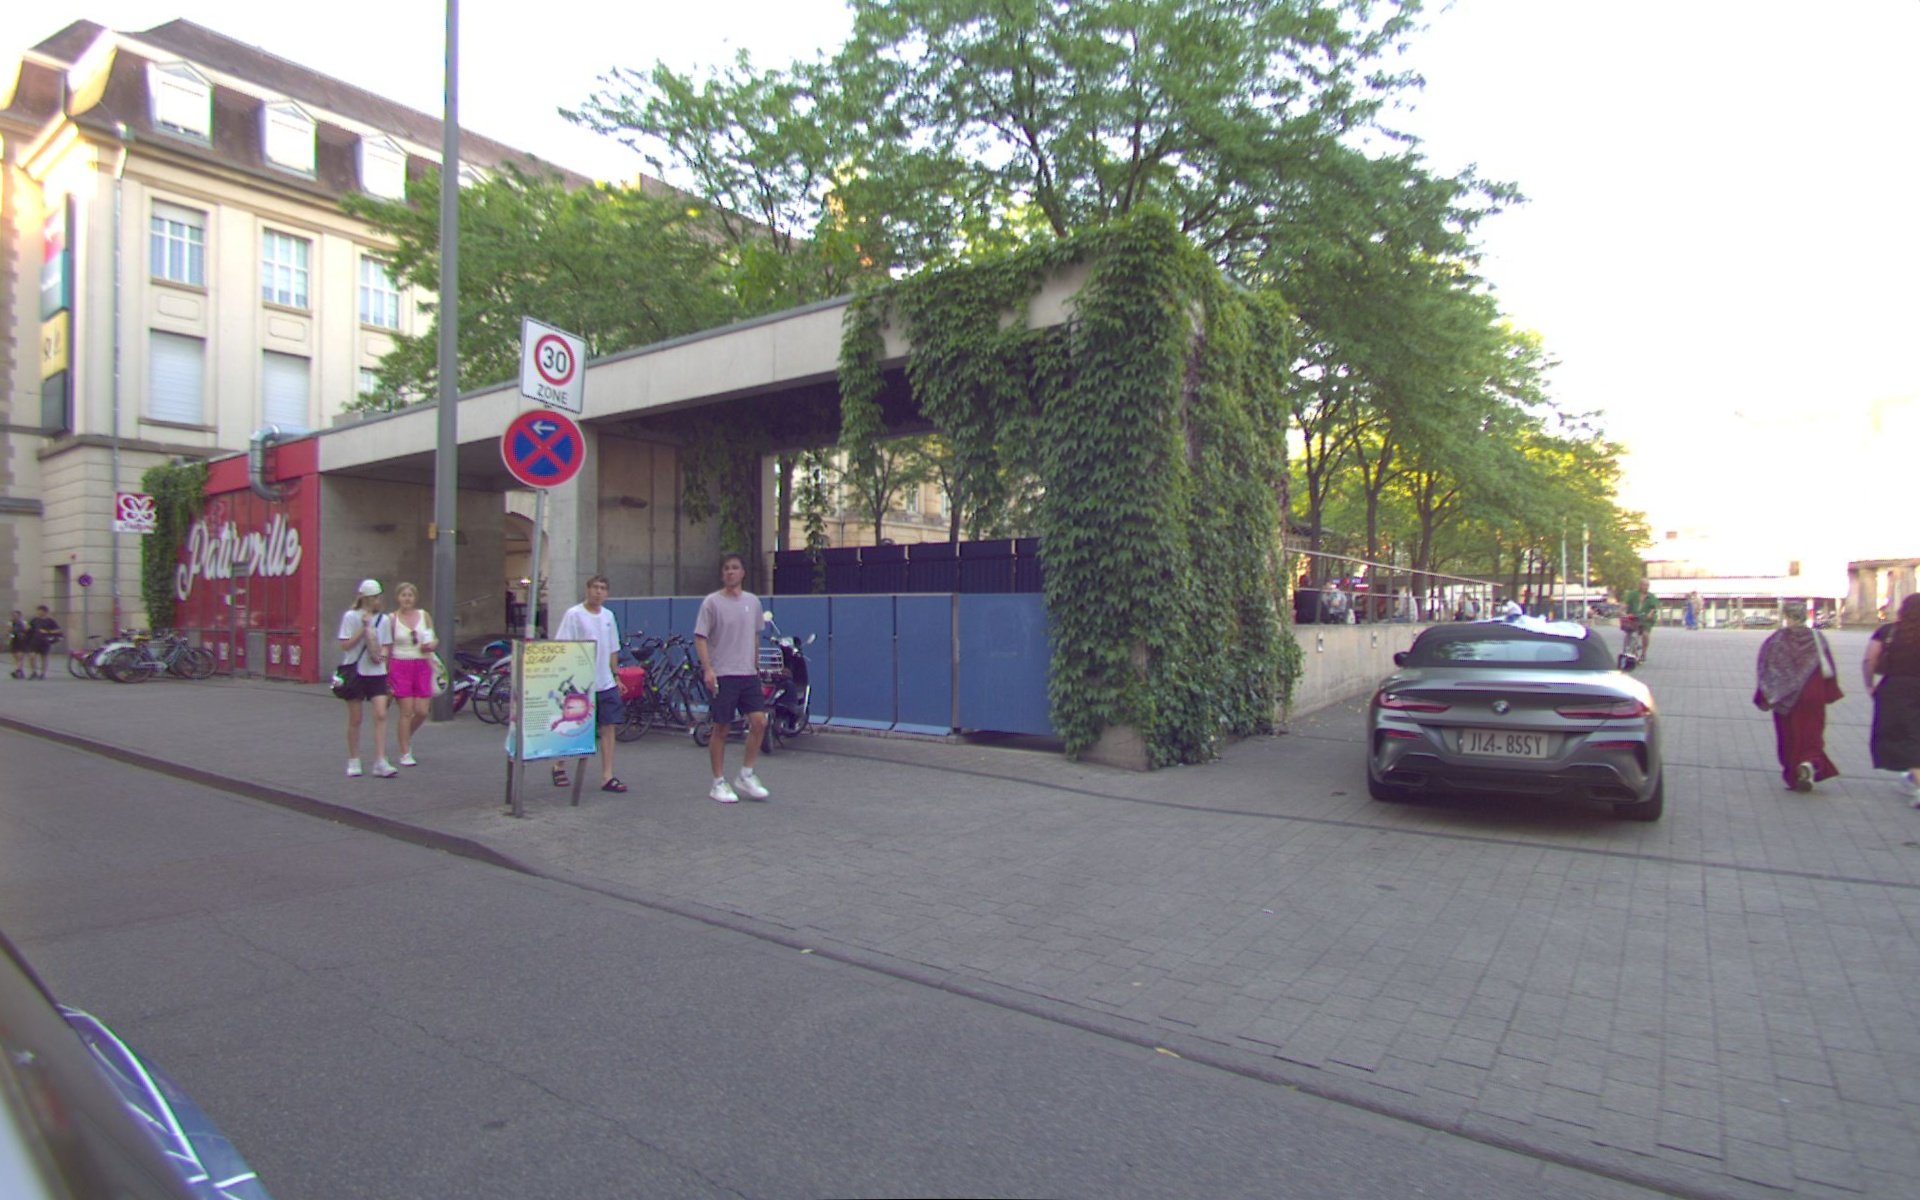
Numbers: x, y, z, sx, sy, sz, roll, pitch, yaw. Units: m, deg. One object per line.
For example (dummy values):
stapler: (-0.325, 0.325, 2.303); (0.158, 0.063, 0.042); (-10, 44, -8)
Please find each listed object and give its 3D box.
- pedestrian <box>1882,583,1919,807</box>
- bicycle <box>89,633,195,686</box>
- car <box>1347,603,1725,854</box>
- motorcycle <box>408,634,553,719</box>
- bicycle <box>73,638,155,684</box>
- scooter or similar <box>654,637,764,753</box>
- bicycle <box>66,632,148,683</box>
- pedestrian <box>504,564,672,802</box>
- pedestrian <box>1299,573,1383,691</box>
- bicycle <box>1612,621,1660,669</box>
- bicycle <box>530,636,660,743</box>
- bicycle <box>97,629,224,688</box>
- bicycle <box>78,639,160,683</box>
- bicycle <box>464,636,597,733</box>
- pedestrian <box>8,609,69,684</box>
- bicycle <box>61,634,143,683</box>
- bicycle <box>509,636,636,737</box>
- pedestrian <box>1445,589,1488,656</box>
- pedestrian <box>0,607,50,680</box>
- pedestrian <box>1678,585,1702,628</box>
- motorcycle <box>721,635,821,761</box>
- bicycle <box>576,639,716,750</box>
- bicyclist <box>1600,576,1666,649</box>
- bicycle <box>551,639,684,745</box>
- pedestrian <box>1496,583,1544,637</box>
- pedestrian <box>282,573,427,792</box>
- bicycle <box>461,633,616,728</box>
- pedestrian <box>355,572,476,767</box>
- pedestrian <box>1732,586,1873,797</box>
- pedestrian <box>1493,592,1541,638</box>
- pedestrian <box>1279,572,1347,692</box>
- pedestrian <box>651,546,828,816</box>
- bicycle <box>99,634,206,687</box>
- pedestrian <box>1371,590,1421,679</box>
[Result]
pedestrian: (7.217, 0.668, 7.311); (0.799, 1.594, 0.720); (-1, 0, 43)
bicycle: (-18.409, 1.315, 22.815); (0.354, 1.091, 1.820); (-1, 0, 42)
car: (4.725, 0.785, 8.452); (2.099, 1.441, 4.404); (-1, 0, 30)
motorcycle: (-6.726, 1.055, 14.255); (1.797, 1.077, 0.535); (-1, 0, -25)
bicycle: (-20.180, 1.437, 24.164); (0.311, 0.986, 1.487); (-1, 0, 28)
scooter or similar: (-2.674, 0.984, 10.920); (0.408, 1.096, 1.488); (-1, 0, 19)
bicycle: (-20.470, 1.365, 24.311); (0.311, 1.149, 1.487); (-1, 0, 28)
pedestrian: (-3.064, 0.632, 8.359); (0.889, 1.807, 0.972); (-1, 0, 39)
pedestrian: (6.176, 0.506, 16.401); (1.120, 1.833, 0.694); (-1, -1, 36)
bicycle: (13.265, 0.862, 19.852); (0.639, 0.888, 1.609); (-1, -1, 38)
bicycle: (-4.230, 1.006, 11.820); (0.410, 1.120, 1.481); (-1, 0, 33)
bicycle: (-17.676, 1.271, 22.429); (0.445, 1.164, 2.151); (-1, 0, 42)
bicycle: (-19.920, 1.430, 23.995); (0.311, 0.963, 1.487); (-1, 0, 28)
bicycle: (-5.375, 1.027, 12.733); (0.436, 1.096, 1.476); (-1, 0, 43)
pedestrian: (-22.025, 1.097, 24.206); (0.819, 1.740, 0.924); (0, -1, -25)
bicycle: (-20.755, 1.395, 24.504); (0.311, 1.084, 1.487); (-1, 0, 28)
bicycle: (-4.669, 1.013, 12.275); (0.410, 1.096, 1.481); (-1, 0, 33)
pedestrian: (13.461, 0.598, 26.913); (0.919, 1.740, 0.694); (-1, -1, 36)
pedestrian: (-22.963, 1.042, 24.738); (0.700, 1.740, 0.911); (-1, -1, 32)
pedestrian: (33.607, 0.290, 46.578); (0.726, 1.963, 0.798); (0, -1, 24)
motorcycle: (-1.929, 0.974, 10.584); (0.530, 1.135, 1.826); (-1, 0, 5)
bicycle: (-3.488, 1.019, 11.338); (0.546, 1.096, 1.481); (-1, 0, 33)
bicyclist: (13.301, 0.243, 19.996); (1.010, 1.400, 0.691); (-1, -1, 39)
bicycle: (-3.893, 1.017, 11.607); (0.441, 1.077, 1.481); (-1, 0, 33)
pedestrian: (17.663, 0.322, 31.908); (1.264, 1.660, 0.700); (-1, -1, 34)
pedestrian: (-5.356, 0.682, 8.962); (0.868, 1.807, 0.841); (-1, 0, 39)
bicycle: (-5.532, 1.026, 13.387); (0.549, 1.095, 1.849); (-1, 0, 38)
pedestrian: (-5.342, 0.648, 9.933); (0.736, 1.807, 0.802); (-1, 0, 39)
pedestrian: (6.599, 0.677, 7.937); (0.583, 1.554, 0.682); (-1, 0, -33)
pedestrian: (17.229, 0.453, 31.308); (1.264, 1.390, 0.729); (-1, -1, 33)
pedestrian: (5.479, 0.478, 15.684); (0.797, 1.795, 0.752); (-1, -1, 38)
pedestrian: (-1.686, 0.571, 7.781); (0.889, 1.898, 0.972); (-1, 0, 39)
bicycle: (-18.006, 1.326, 22.599); (0.354, 1.091, 1.820); (-1, 0, 42)
pedestrian: (8.664, 0.674, 20.106); (0.802, 1.740, 0.616); (-1, -1, 35)
